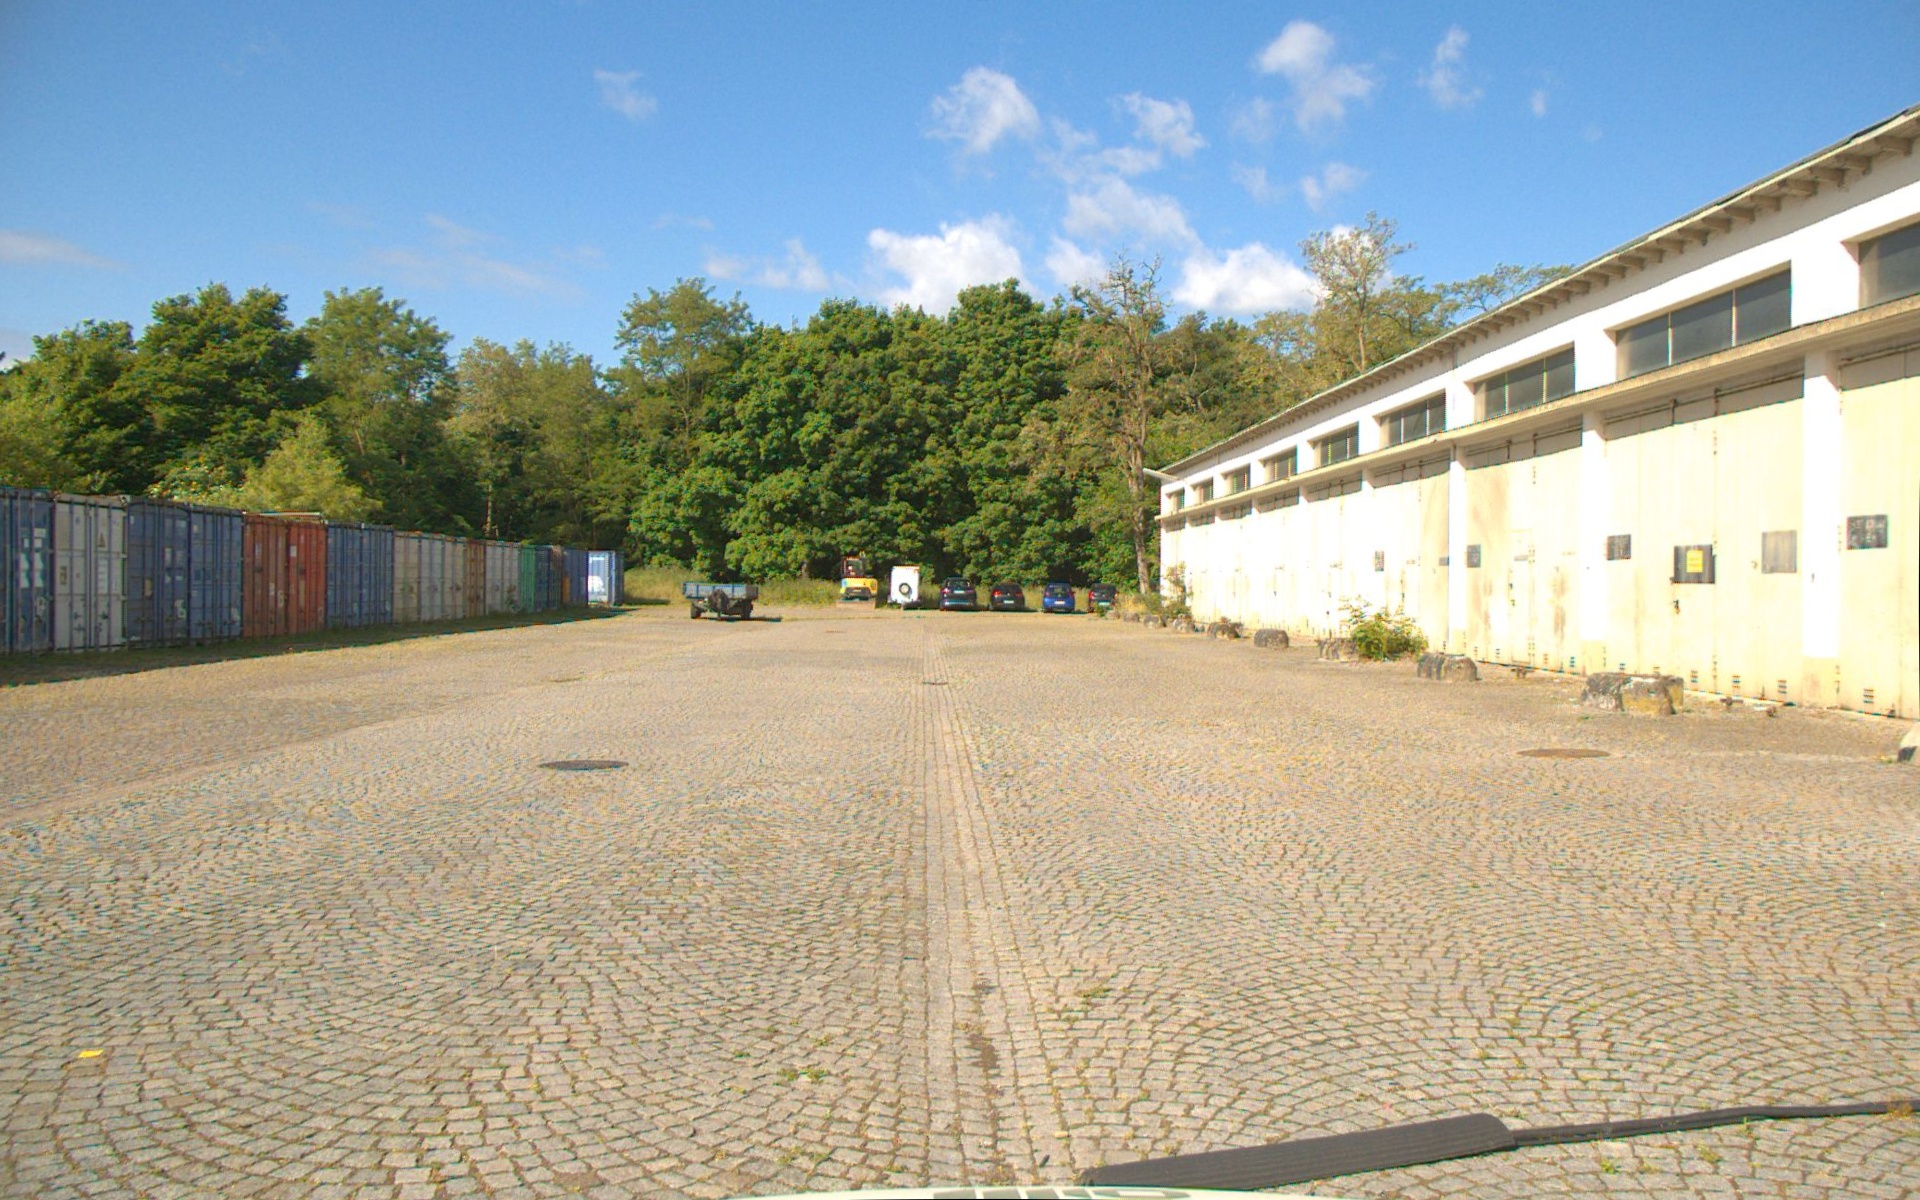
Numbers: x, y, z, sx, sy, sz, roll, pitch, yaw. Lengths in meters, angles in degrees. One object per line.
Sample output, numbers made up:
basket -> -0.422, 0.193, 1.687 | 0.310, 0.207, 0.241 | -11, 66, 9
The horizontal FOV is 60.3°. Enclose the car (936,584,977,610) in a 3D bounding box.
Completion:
car -> -0.194, -0.150, 82.653 | 1.953, 1.280, 3.999 | 0, 1, -2

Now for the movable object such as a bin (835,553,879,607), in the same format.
movable object such as a bin -> -5.268, -1.010, 84.491 | 2.188, 2.703, 3.997 | 0, 1, -4

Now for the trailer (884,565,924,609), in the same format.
trailer -> -2.838, -0.658, 83.807 | 1.953, 2.200, 4.430 | 0, 0, -2

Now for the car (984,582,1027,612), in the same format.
car -> 2.273, -0.168, 83.099 | 1.953, 1.449, 3.999 | 0, 1, -2

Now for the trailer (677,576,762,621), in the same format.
trailer -> -9.395, -0.069, 65.058 | 2.735, 1.675, 5.618 | 0, 0, -2

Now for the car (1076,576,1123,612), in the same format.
car -> 7.097, -0.320, 84.475 | 1.953, 1.803, 3.999 | 0, 0, -2

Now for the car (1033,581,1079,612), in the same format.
car -> 4.813, -0.196, 83.163 | 1.953, 1.491, 3.999 | 0, 1, -2
